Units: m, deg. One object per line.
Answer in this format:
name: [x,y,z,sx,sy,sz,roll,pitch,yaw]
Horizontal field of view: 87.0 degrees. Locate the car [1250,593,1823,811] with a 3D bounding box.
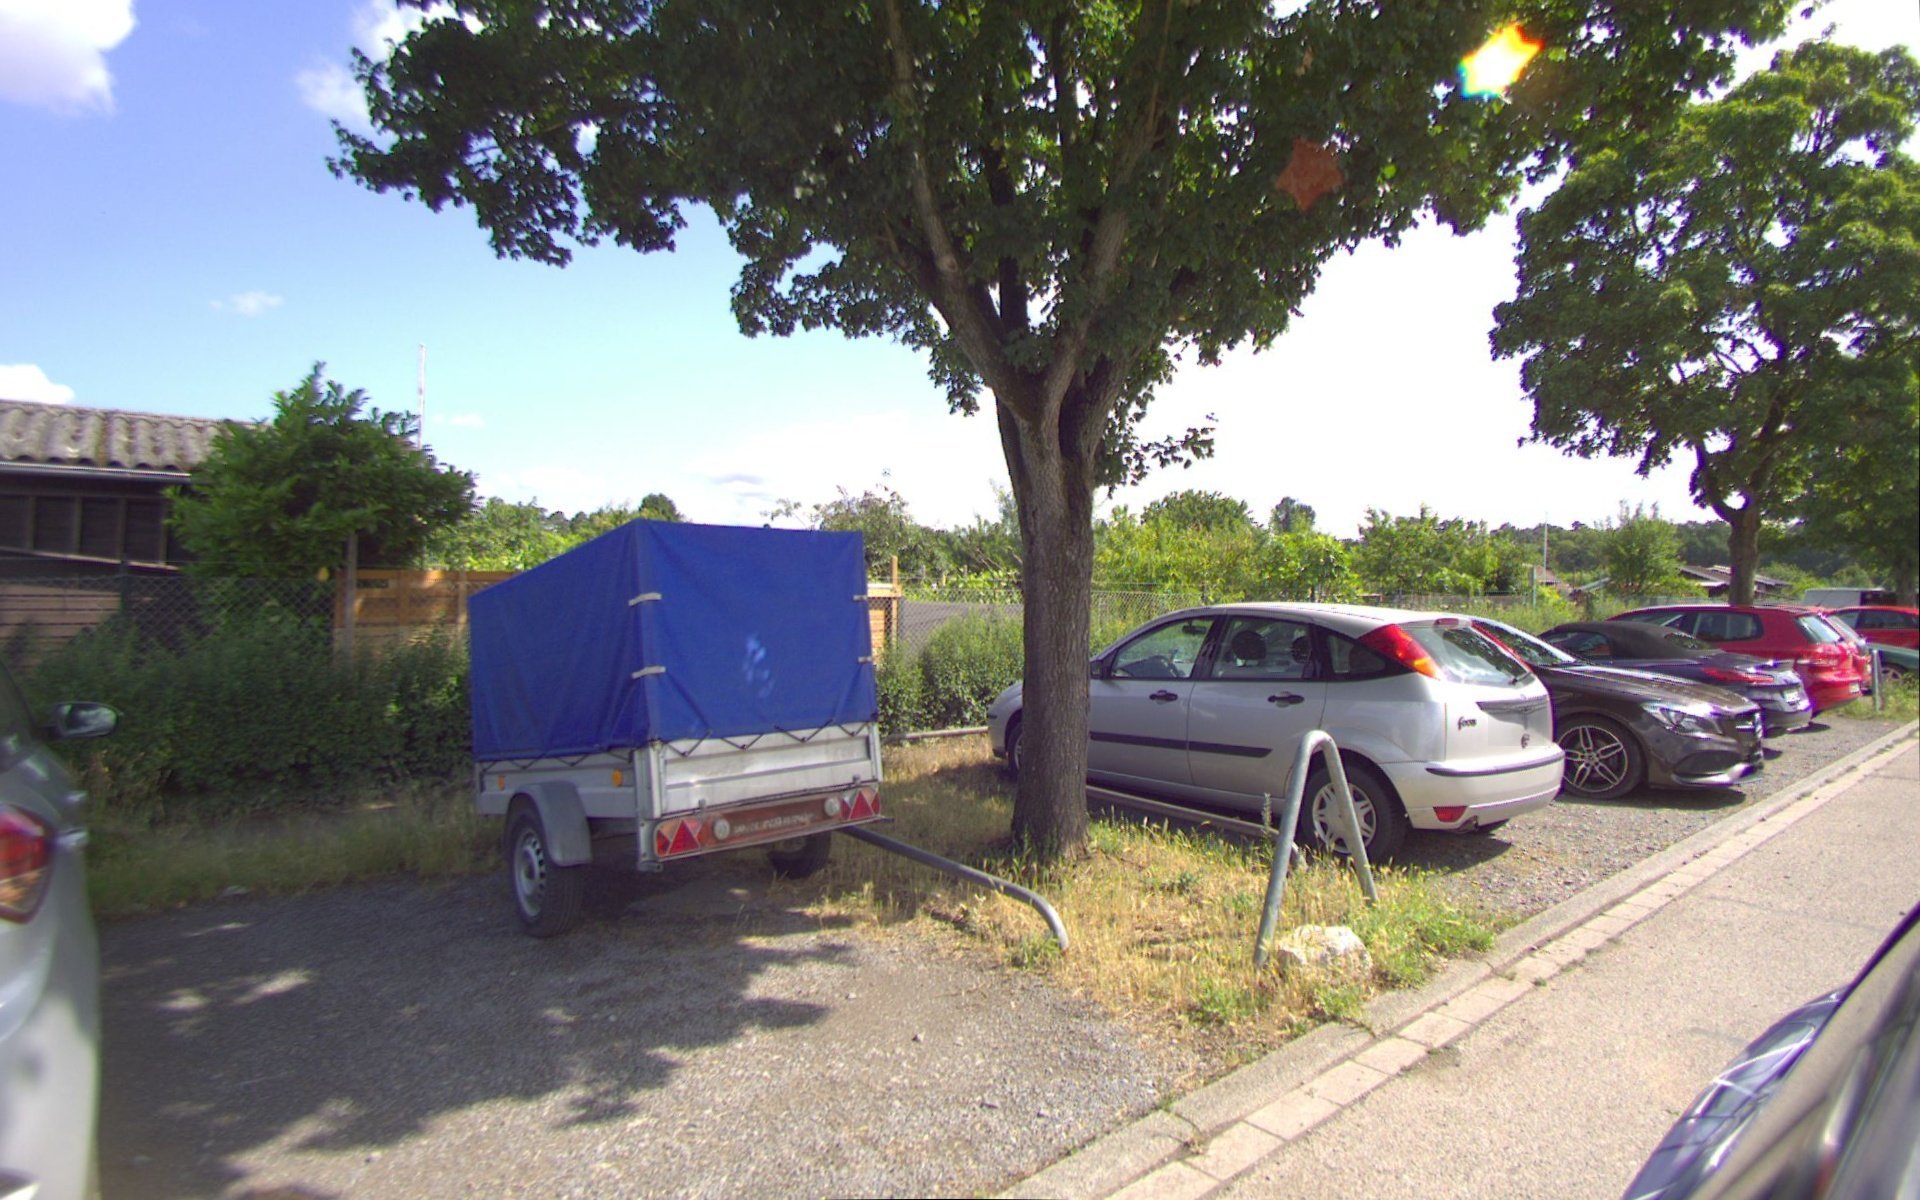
car: [4.878,0.691,9.011,1.838,1.474,4.071,0,0,-42]

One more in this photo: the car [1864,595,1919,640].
car: [33.690,0.607,34.163,1.966,1.484,4.583,0,1,-43]

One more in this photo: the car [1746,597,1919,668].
car: [20.761,0.705,23.053,1.844,1.523,4.193,0,0,-38]

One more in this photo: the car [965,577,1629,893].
car: [2.022,0.650,7.122,1.921,1.530,4.076,0,0,-37]

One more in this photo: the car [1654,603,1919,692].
car: [15.383,0.793,18.425,1.876,1.446,4.242,0,0,-43]

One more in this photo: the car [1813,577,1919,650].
car: [26.612,0.388,27.770,2.075,1.910,4.643,0,2,-41]

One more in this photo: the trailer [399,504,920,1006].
trailer: [-1.560,0.548,4.940,1.493,1.742,2.452,1,-1,-43]

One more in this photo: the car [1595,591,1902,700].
car: [13.105,0.672,16.985,1.837,1.593,3.771,0,0,-40]

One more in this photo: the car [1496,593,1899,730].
car: [9.664,0.694,13.551,1.820,1.539,3.998,0,0,-36]

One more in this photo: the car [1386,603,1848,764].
car: [7.130,0.762,11.331,1.921,1.442,3.921,0,0,-37]

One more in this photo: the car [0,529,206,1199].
car: [-3.234,0.679,2.516,1.818,1.559,3.727,0,0,-43]
